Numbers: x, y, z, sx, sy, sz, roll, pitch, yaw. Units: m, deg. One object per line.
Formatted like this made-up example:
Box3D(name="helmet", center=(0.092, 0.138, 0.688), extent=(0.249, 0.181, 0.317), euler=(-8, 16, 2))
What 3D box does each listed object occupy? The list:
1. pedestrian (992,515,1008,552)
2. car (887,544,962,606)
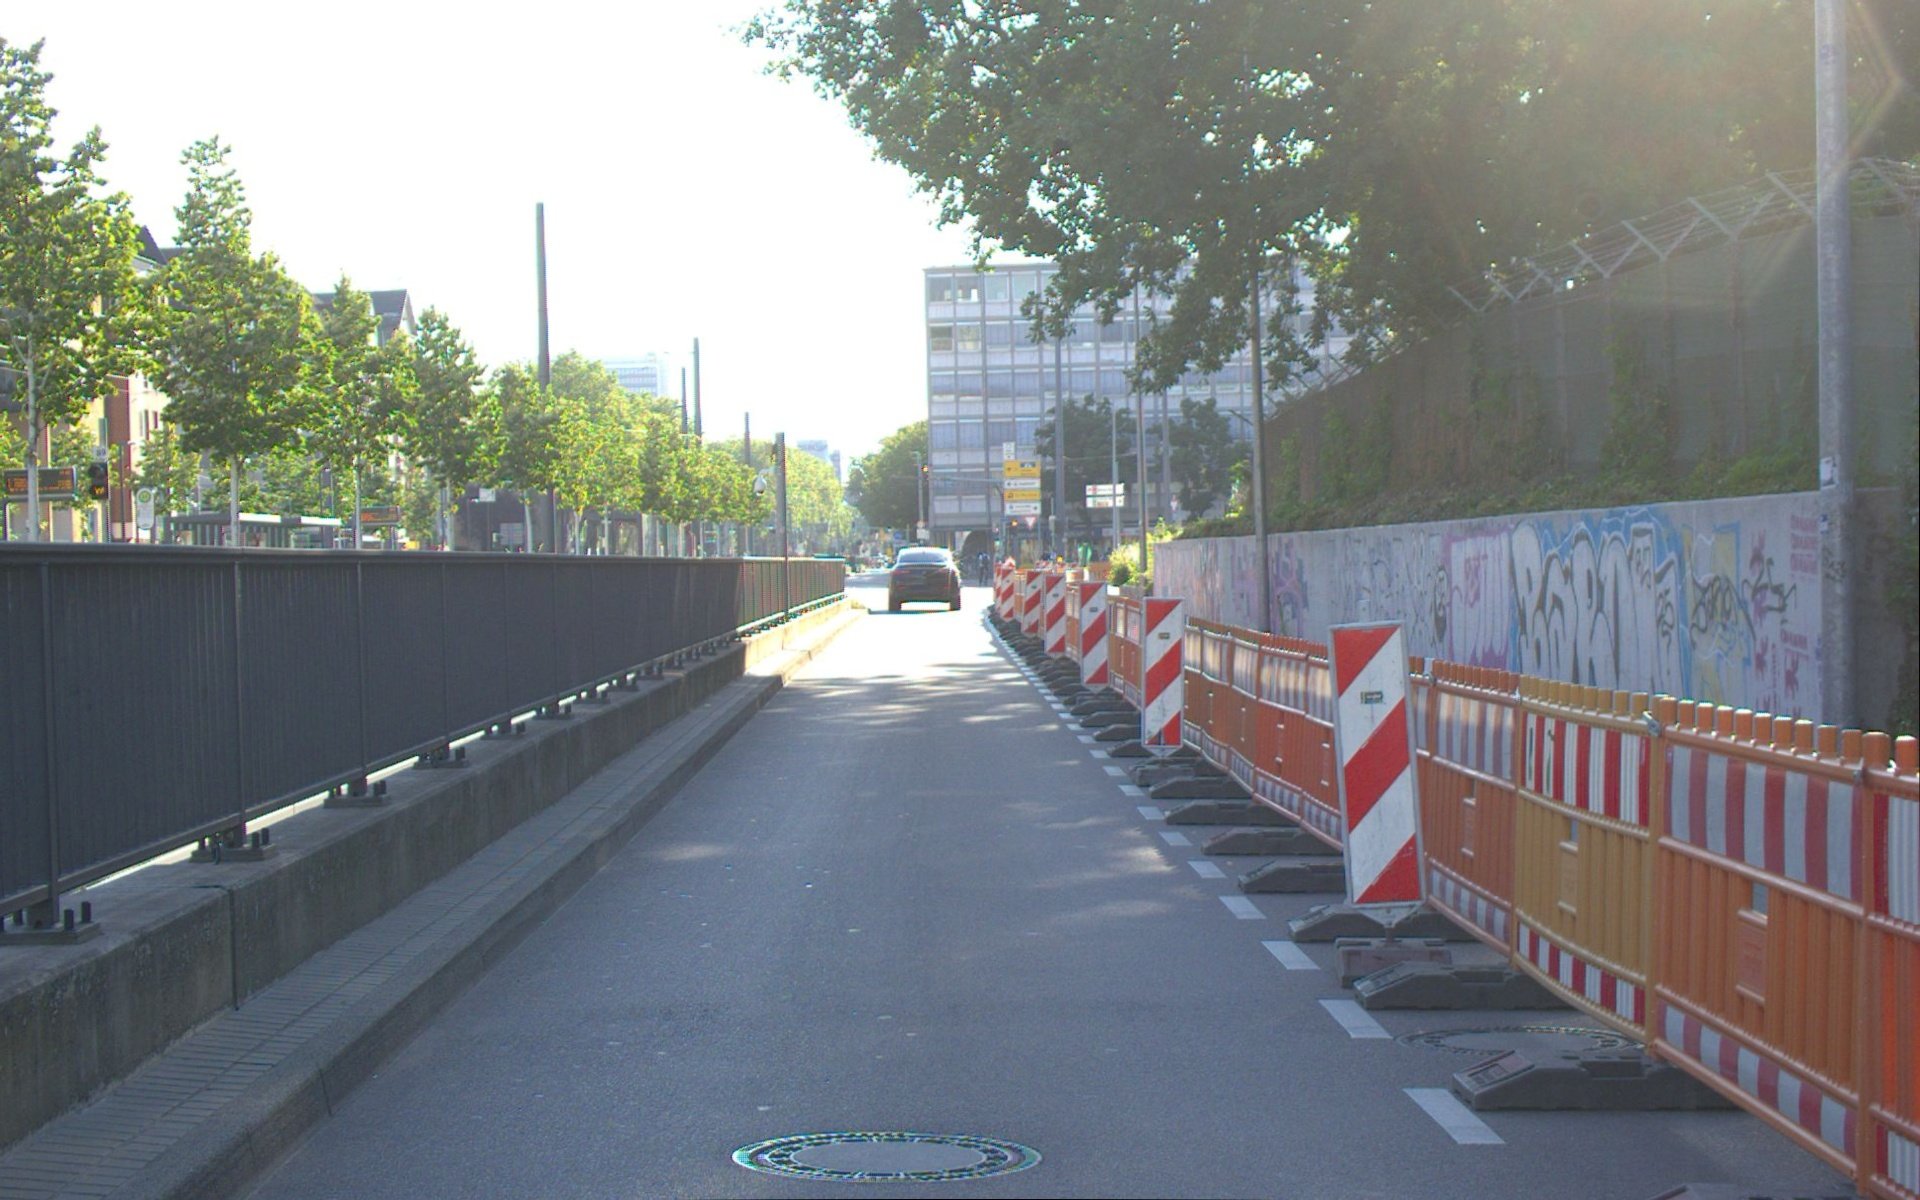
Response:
Box3D(name="pedestrian", center=(2.338, -3.875, 200.579), extent=(0.891, 2.105, 0.718), euler=(-1, 1, 5))
Box3D(name="car", center=(-0.976, -0.698, 95.846), extent=(2.005, 1.653, 4.000), euler=(1, 0, 0))
